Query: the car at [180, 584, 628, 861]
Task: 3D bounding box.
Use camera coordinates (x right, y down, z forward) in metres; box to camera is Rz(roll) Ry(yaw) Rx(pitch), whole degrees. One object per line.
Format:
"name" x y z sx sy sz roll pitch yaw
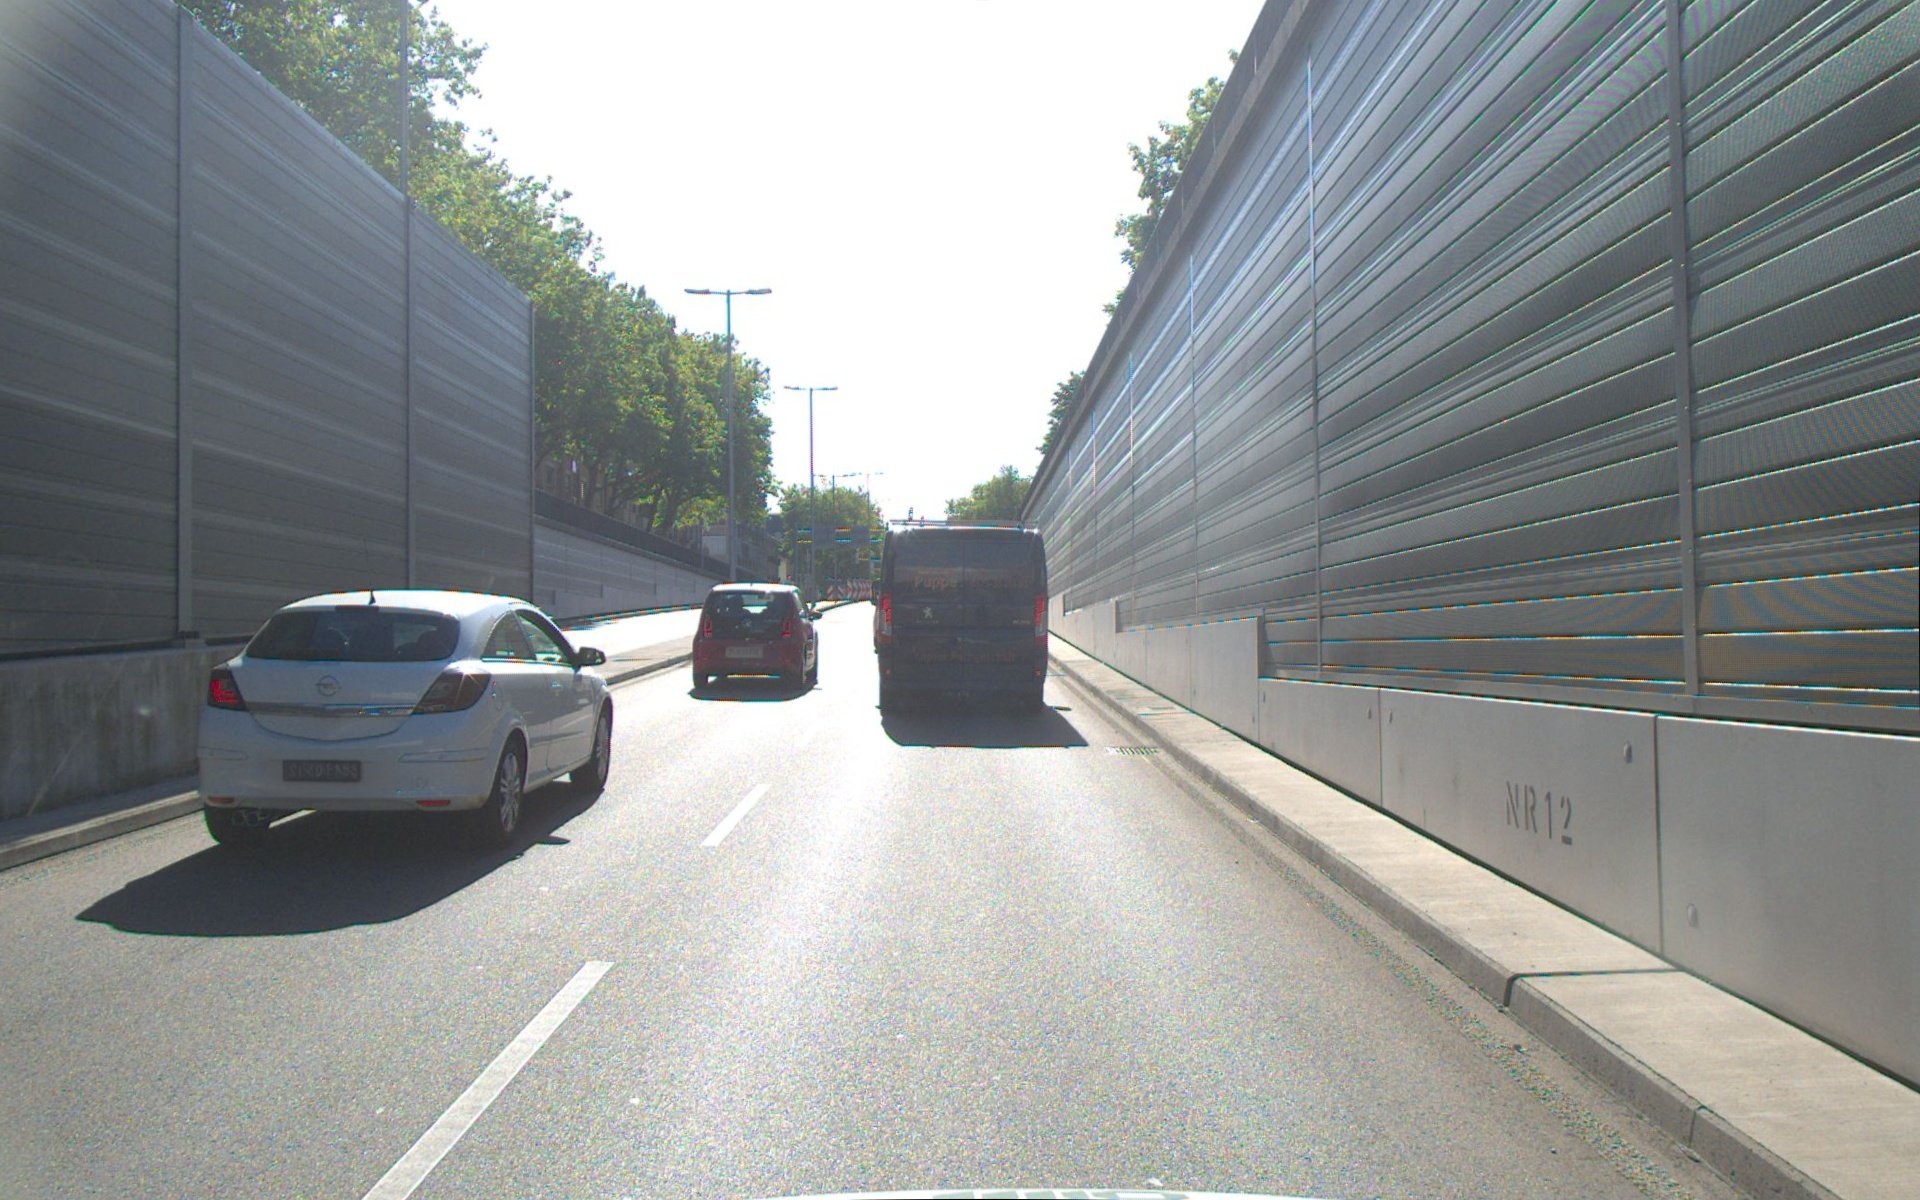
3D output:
"car" -3.296 0.638 10.585 1.586 1.428 3.851 1 0 -1

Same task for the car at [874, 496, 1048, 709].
"car" 0.003 0.027 20.950 1.988 2.444 3.972 0 0 0

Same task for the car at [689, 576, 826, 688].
"car" -2.947 0.419 24.589 1.654 1.509 3.318 1 1 -1

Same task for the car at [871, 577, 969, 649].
"car" -0.849 0.252 37.290 1.852 1.500 3.993 1 1 3
